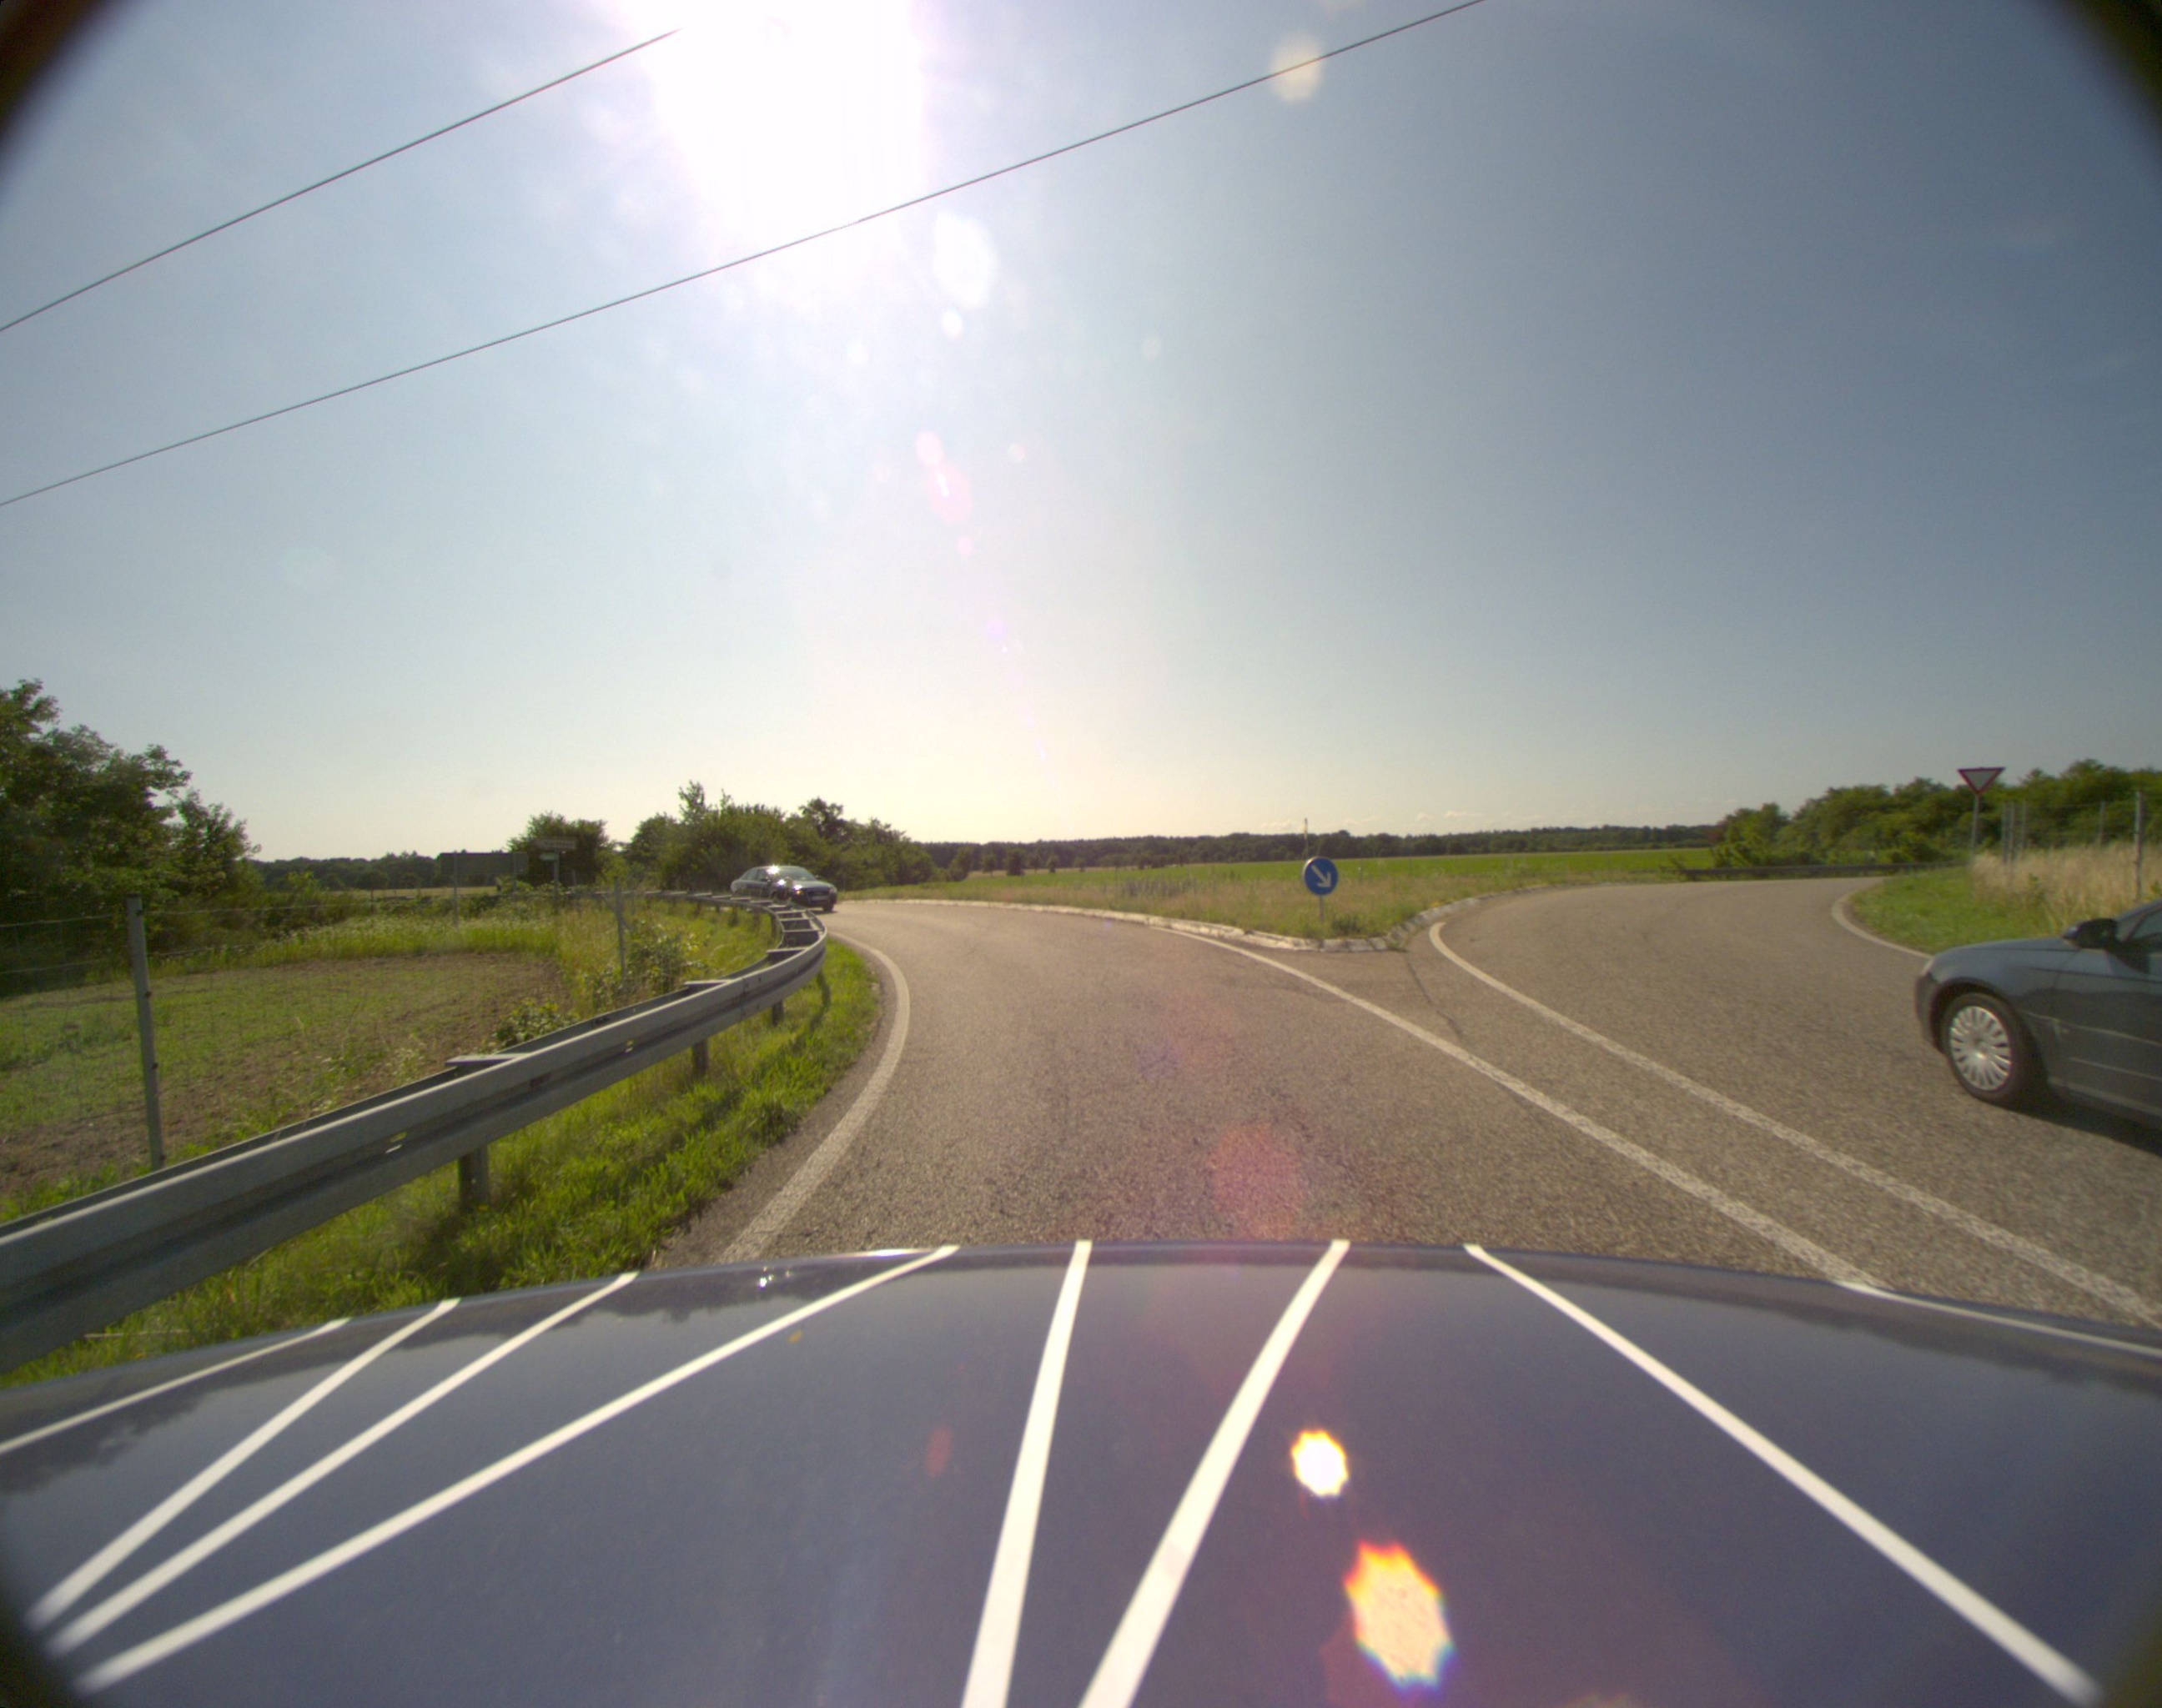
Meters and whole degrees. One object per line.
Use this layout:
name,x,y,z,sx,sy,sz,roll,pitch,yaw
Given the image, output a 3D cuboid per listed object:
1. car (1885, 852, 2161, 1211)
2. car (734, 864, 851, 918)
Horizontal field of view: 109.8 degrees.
car,5.106,0.748,2.171,1.777,1.448,4.597,-1,0,16
car,-8.948,1.121,23.376,1.891,1.448,4.065,-3,-1,-43
